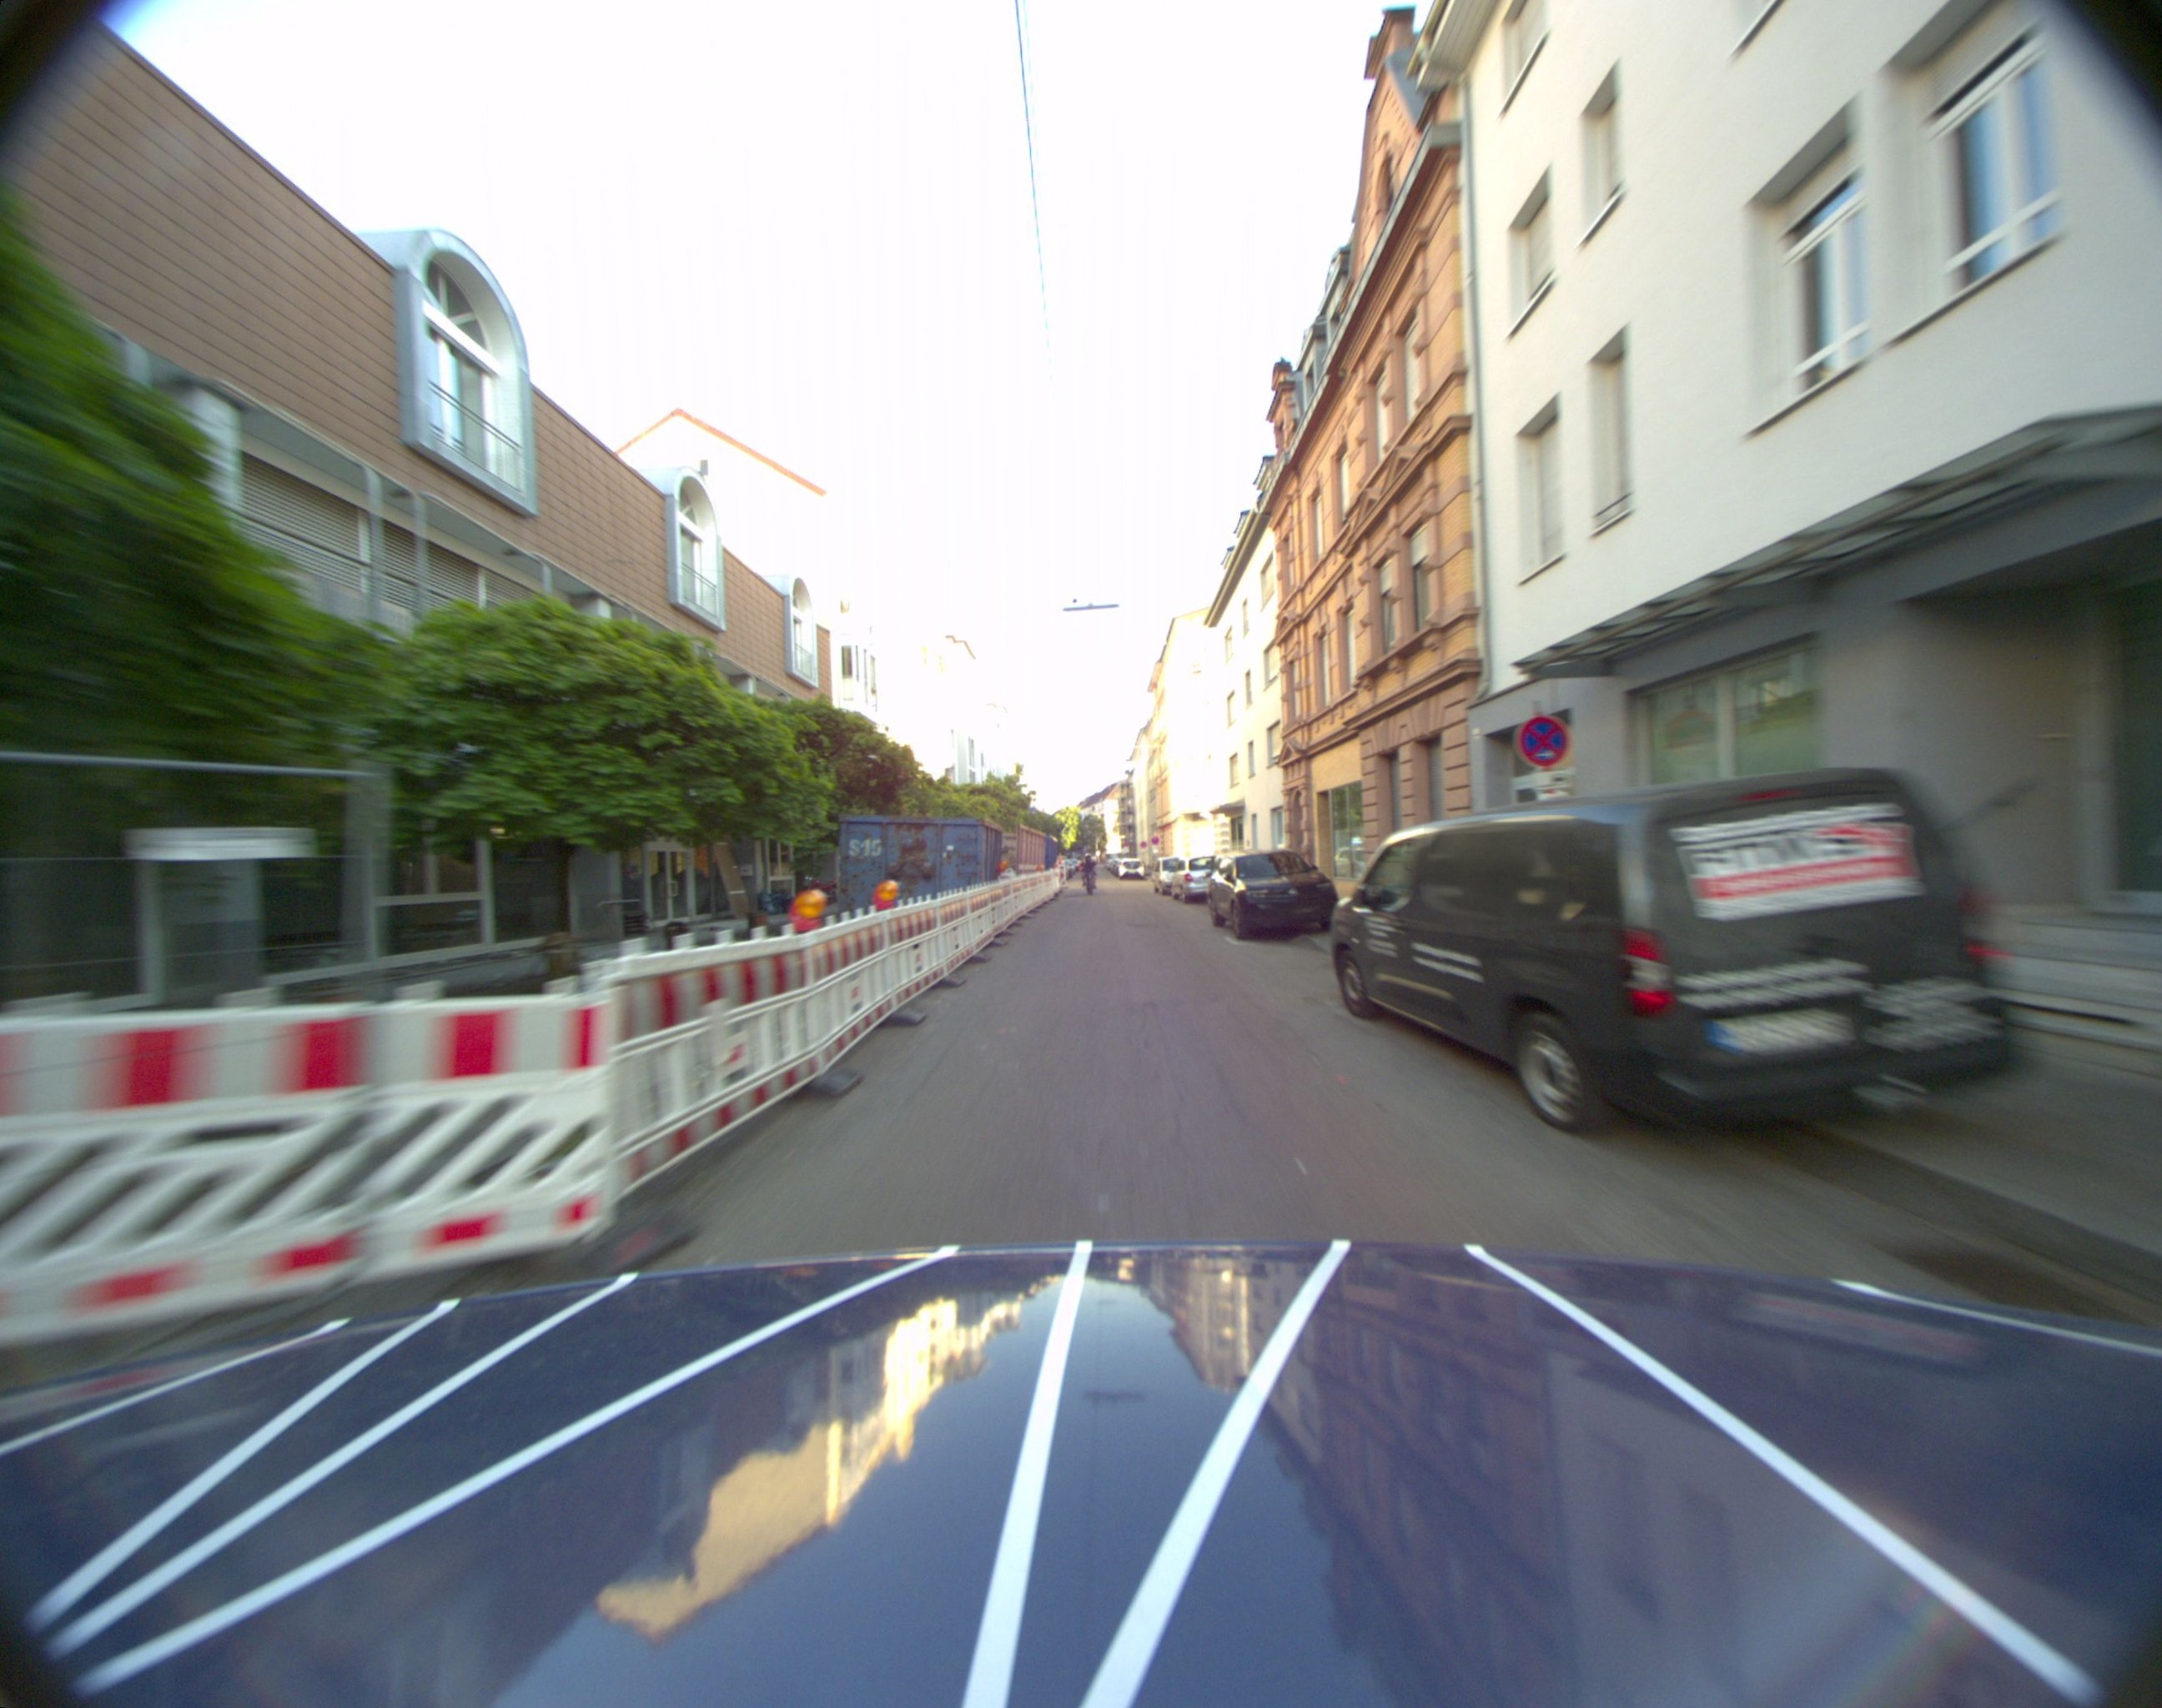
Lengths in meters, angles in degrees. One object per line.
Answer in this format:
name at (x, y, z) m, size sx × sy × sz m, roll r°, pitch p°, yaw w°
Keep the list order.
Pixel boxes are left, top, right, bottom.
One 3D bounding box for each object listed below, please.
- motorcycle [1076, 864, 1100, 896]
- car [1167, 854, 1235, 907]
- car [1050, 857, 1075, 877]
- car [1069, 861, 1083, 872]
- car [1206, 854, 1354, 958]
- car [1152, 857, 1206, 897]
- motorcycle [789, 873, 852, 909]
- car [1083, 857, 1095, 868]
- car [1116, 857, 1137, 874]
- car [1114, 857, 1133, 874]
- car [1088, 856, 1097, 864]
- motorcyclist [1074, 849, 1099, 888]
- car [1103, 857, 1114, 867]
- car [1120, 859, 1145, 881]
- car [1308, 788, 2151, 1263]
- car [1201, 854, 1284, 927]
motorcycle at (0.290, 1.078, 31.628) m, size 0.806 × 1.242 × 1.699 m, roll -4°, pitch -2°, yaw 5°
car at (3.852, 0.823, 24.952) m, size 1.559 × 1.499 × 3.598 m, roll -5°, pitch 0°, yaw 0°
car at (-1.627, 1.158, 68.536) m, size 1.863 × 1.679 × 4.391 m, roll -3°, pitch 0°, yaw 3°
car at (-0.737, 1.856, 113.734) m, size 1.902 × 1.509 × 4.224 m, roll -3°, pitch 0°, yaw 0°
car at (3.534, 0.848, 14.245) m, size 1.744 × 1.590 × 4.015 m, roll -3°, pitch 0°, yaw 2°
car at (3.875, 0.875, 30.473) m, size 1.636 × 1.421 × 3.555 m, roll -3°, pitch 0°, yaw 0°
motorcycle at (-9.762, 1.366, 28.617) m, size 0.870 × 1.215 × 2.460 m, roll -1°, pitch 1°, yaw 19°
car at (1.428, 1.512, 132.894) m, size 1.998 × 1.783 × 4.000 m, roll -3°, pitch 0°, yaw 1°
car at (3.816, 0.976, 64.669) m, size 1.589 × 1.407 × 3.912 m, roll 2°, pitch 0°, yaw 1°
car at (3.913, 1.071, 70.799) m, size 1.537 × 1.489 × 4.196 m, roll -1°, pitch 0°, yaw 0°
car at (2.788, 1.546, 184.333) m, size 1.998 × 1.783 × 4.000 m, roll -3°, pitch 0°, yaw 1°
motorcyclist at (0.244, 0.601, 31.673) m, size 0.873 × 1.558 × 1.000 m, roll -4°, pitch -2°, yaw 4°
car at (5.547, 1.606, 154.333) m, size 1.998 × 1.783 × 4.000 m, roll -3°, pitch 0°, yaw 1°
car at (3.619, 1.110, 54.281) m, size 1.688 × 1.487 × 3.845 m, roll 1°, pitch 0°, yaw 3°
car at (3.343, 0.716, 5.397) m, size 1.999 × 1.847 × 4.585 m, roll -3°, pitch 0°, yaw 0°
car at (3.857, 0.840, 18.540) m, size 1.399 × 1.579 × 2.794 m, roll -3°, pitch 0°, yaw 1°
